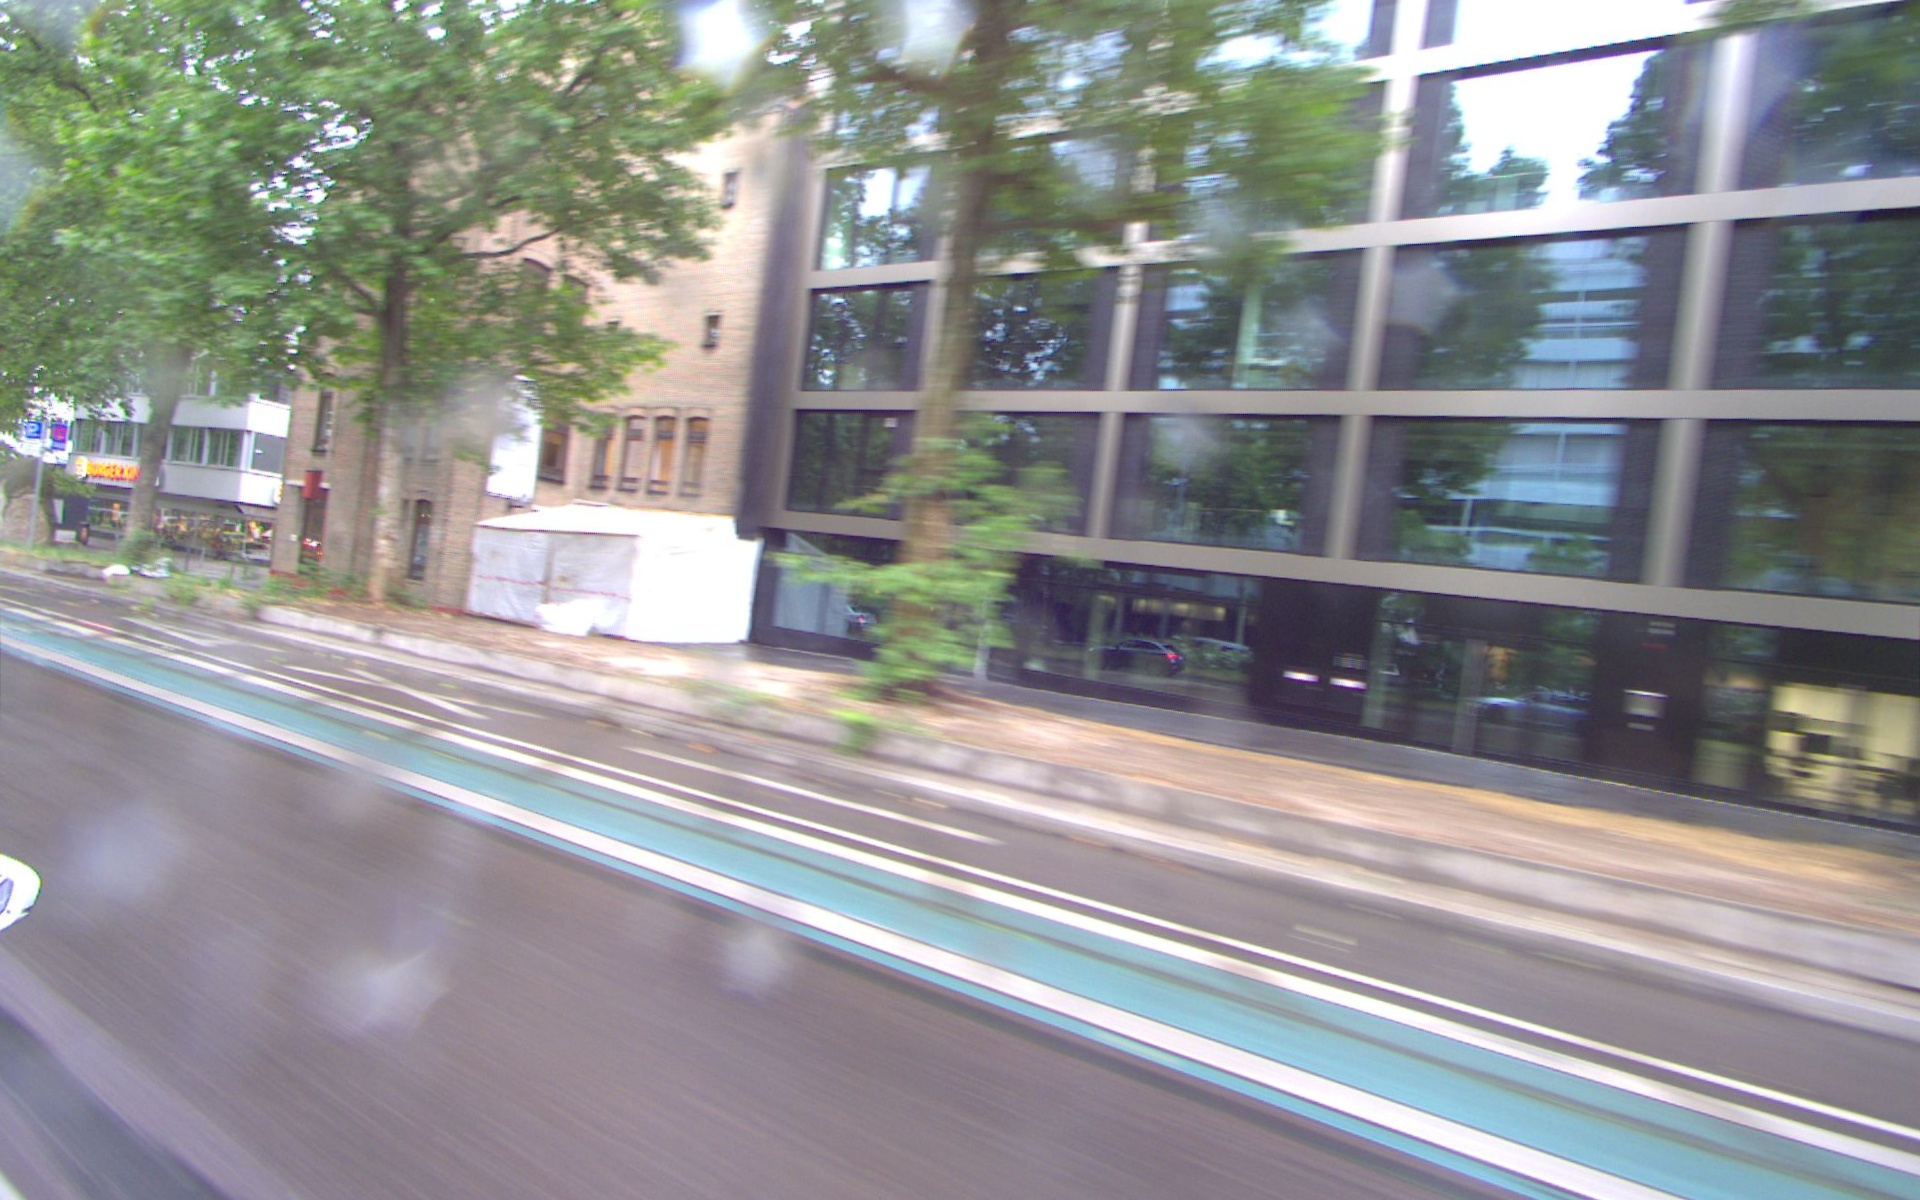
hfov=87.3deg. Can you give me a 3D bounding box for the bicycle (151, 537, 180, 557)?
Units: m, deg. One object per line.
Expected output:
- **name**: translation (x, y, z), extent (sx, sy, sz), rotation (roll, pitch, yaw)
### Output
- **bicycle**: translation (-41.862, -2.794, 53.014), extent (1.993, 0.846, 0.449), rotation (6, -3, 32)

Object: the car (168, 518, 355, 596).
- **car**: translation (-14.181, -0.831, 20.606), extent (2.861, 1.086, 1.446), rotation (9, -3, -28)

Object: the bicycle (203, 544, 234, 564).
- **bicycle**: translation (-37.063, -2.314, 50.263), extent (1.993, 0.846, 0.449), rotation (6, -3, 32)
